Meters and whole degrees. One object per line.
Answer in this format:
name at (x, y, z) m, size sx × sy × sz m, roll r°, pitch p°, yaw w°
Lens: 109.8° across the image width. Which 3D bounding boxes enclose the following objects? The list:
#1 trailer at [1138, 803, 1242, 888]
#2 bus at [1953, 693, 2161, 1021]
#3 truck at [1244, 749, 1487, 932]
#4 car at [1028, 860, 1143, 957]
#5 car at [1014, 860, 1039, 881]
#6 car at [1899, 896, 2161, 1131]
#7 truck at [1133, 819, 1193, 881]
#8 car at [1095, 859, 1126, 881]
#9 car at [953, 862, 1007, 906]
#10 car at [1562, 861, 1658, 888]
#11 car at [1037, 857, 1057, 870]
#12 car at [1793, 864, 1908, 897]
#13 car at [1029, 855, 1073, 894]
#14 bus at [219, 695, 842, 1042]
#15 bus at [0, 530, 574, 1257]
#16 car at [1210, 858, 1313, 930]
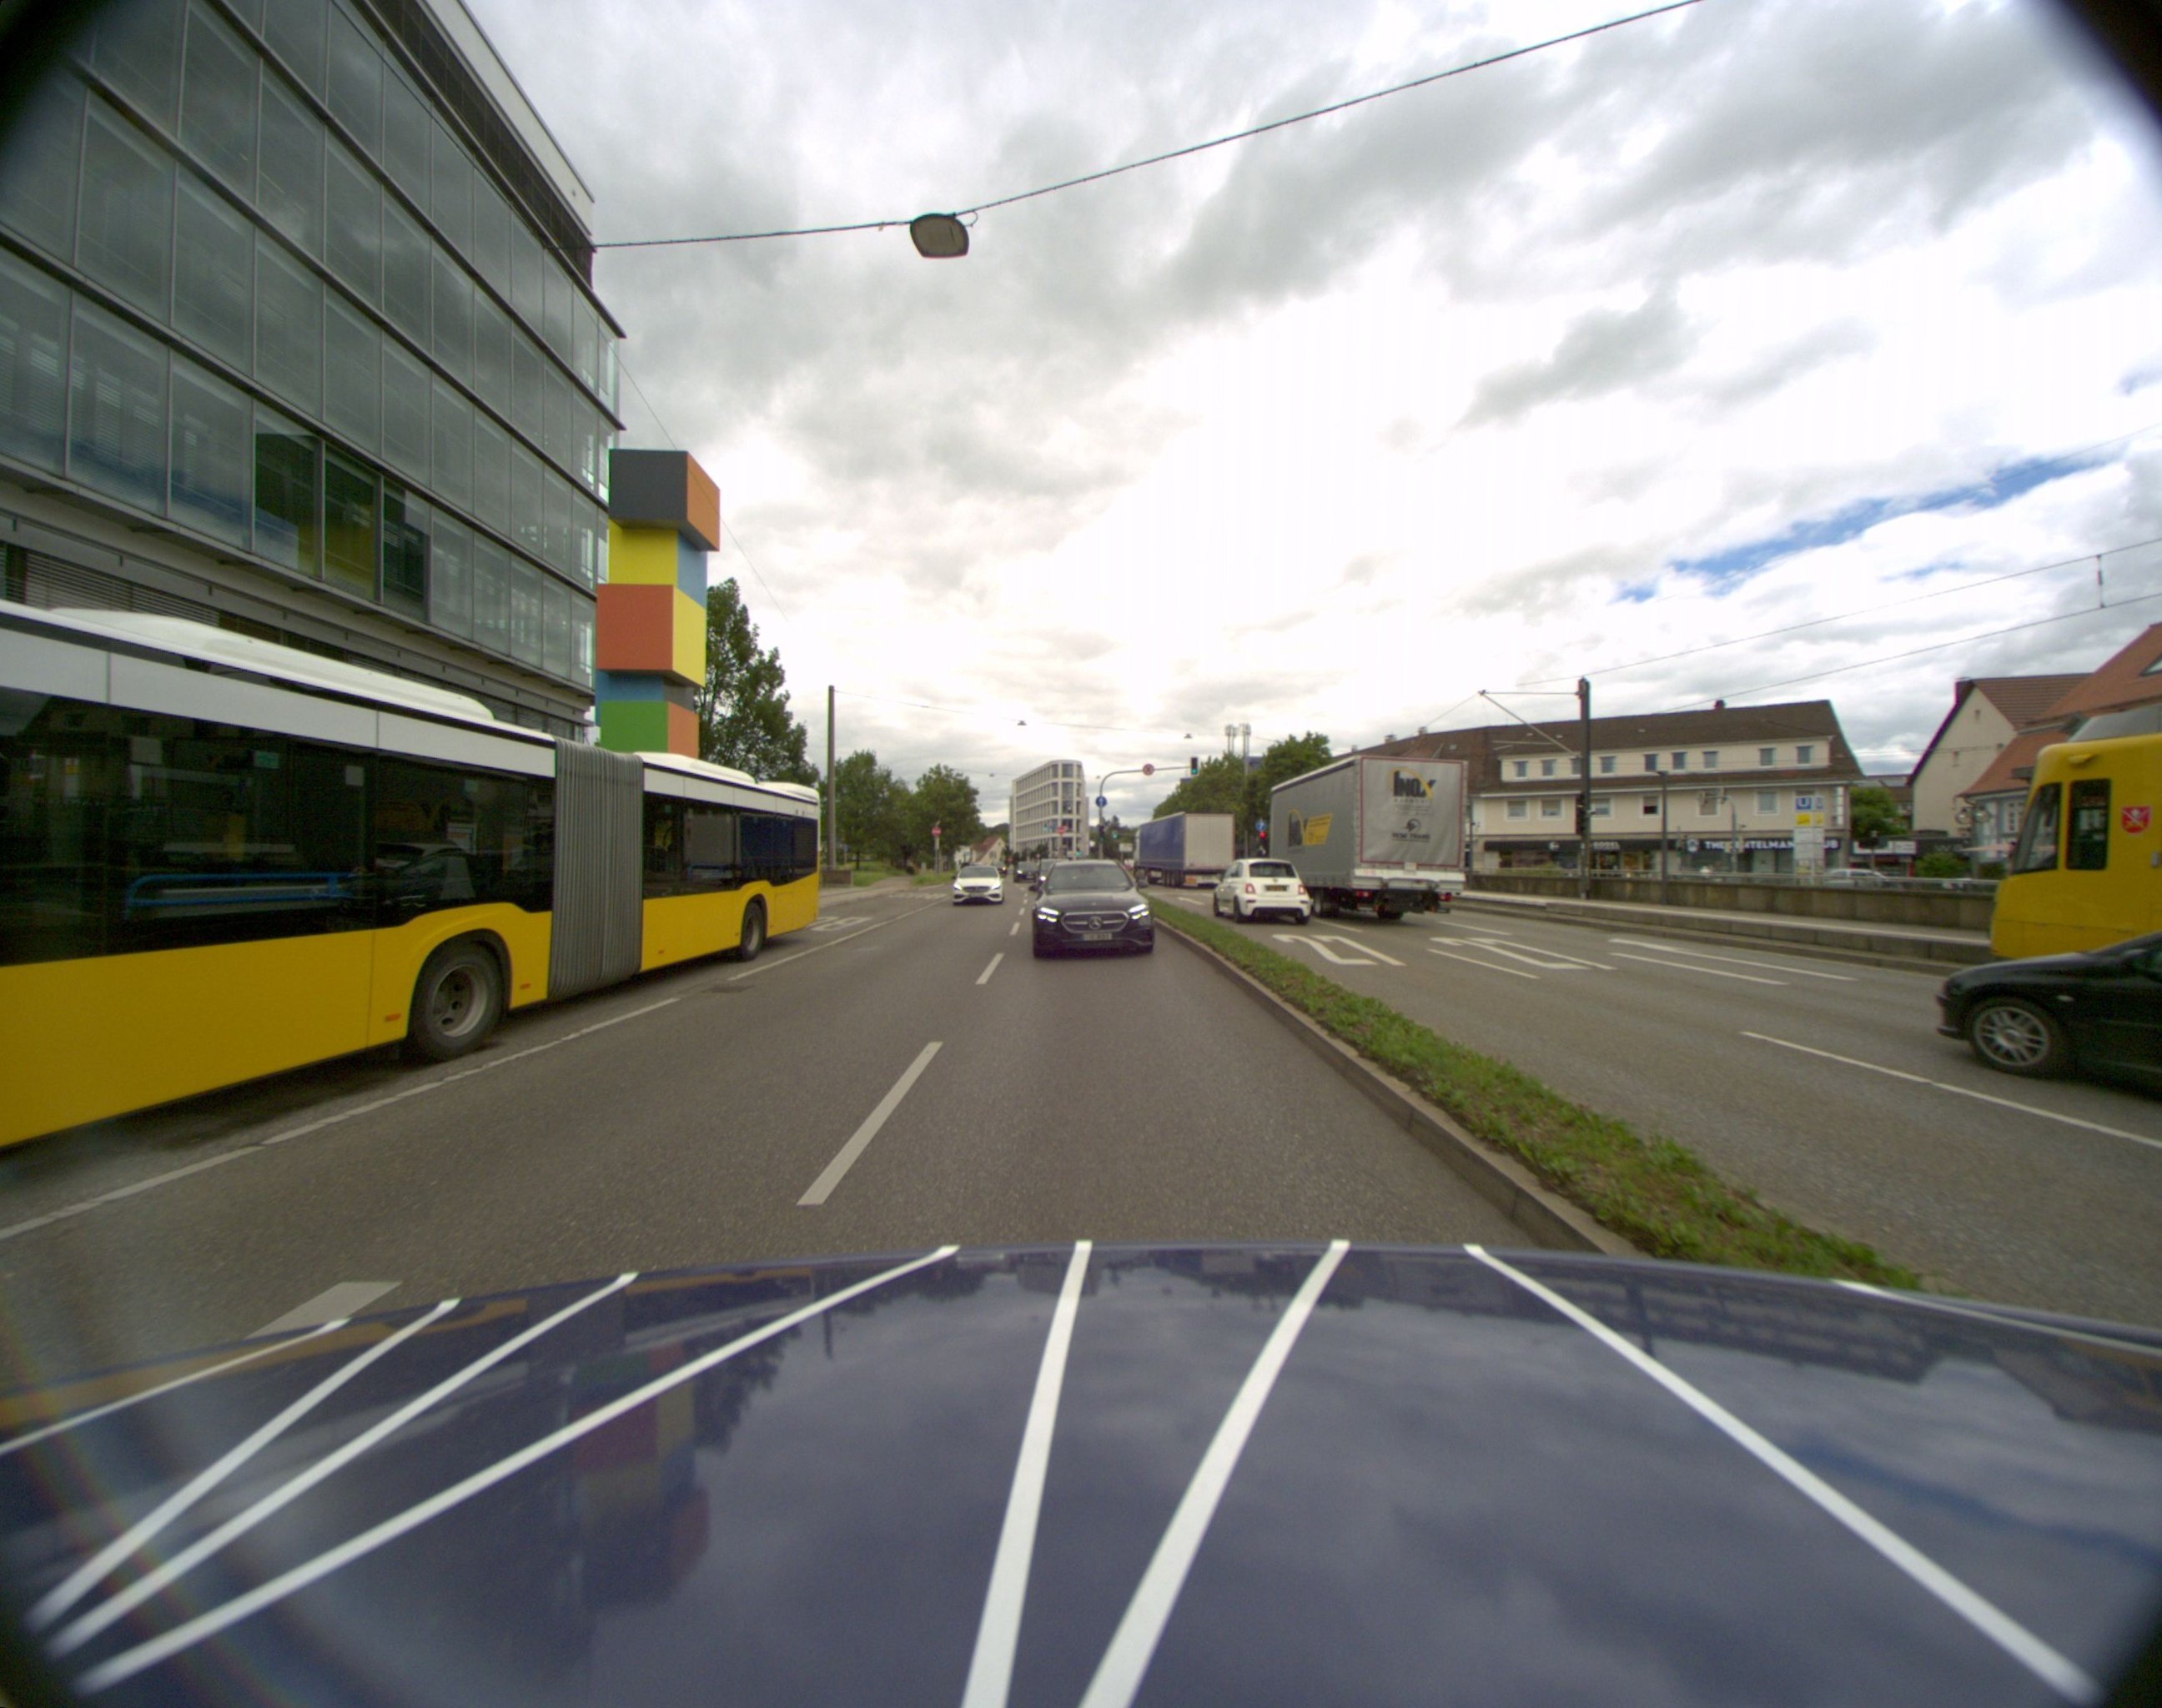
trailer at (6.005, -0.369, 45.331) m, size 3.111 × 4.244 × 14.842 m, roll 0°, pitch 0°, yaw -4°
bus at (14.885, 0.107, 1.338) m, size 3.888 × 3.837 × 19.335 m, roll 0°, pitch 0°, yaw -2°
truck at (7.124, -0.290, 20.943) m, size 2.946 × 3.935 × 9.162 m, roll 0°, pitch 0°, yaw -2°
car at (-0.052, 0.898, 14.693) m, size 1.873 × 1.542 × 4.771 m, roll 0°, pitch 0°, yaw -3°
car at (-4.026, 1.163, 56.408) m, size 1.736 × 1.474 × 4.367 m, roll -1°, pitch 0°, yaw -4°
car at (7.314, 1.036, 4.103) m, size 1.509 × 1.337 × 3.949 m, roll 2°, pitch 0°, yaw 1°
truck at (5.533, -0.252, 52.408) m, size 3.100 × 3.998 × 6.154 m, roll 0°, pitch 0°, yaw -4°
car at (2.051, 1.129, 54.463) m, size 1.791 × 1.507 × 4.362 m, roll 0°, pitch 0°, yaw -4°
car at (-3.945, 1.065, 29.054) m, size 1.874 × 1.496 × 4.769 m, roll 0°, pitch 0°, yaw -10°
car at (31.248, 1.195, 45.029) m, size 4.355 × 1.507 × 1.794 m, roll 0°, pitch 0°, yaw 17°
car at (-4.187, 1.114, 92.752) m, size 1.918 × 1.585 × 4.812 m, roll 0°, pitch 0°, yaw -8°
car at (42.305, 1.429, 41.890) m, size 4.062 × 1.642 × 2.004 m, roll 0°, pitch 0°, yaw 30°
car at (-1.348, 0.933, 36.255) m, size 1.735 × 1.680 × 4.369 m, roll -1°, pitch 1°, yaw 2°
bus at (-6.573, 0.117, 11.753) m, size 3.044 × 3.217 × 9.335 m, roll 0°, pitch 0°, yaw -2°
bus at (-6.252, 0.184, 2.383) m, size 2.990 × 3.222 × 9.862 m, roll 0°, pitch 1°, yaw -2°
car at (4.226, 0.873, 18.328) m, size 1.592 × 1.493 × 3.718 m, roll 0°, pitch 0°, yaw 0°
